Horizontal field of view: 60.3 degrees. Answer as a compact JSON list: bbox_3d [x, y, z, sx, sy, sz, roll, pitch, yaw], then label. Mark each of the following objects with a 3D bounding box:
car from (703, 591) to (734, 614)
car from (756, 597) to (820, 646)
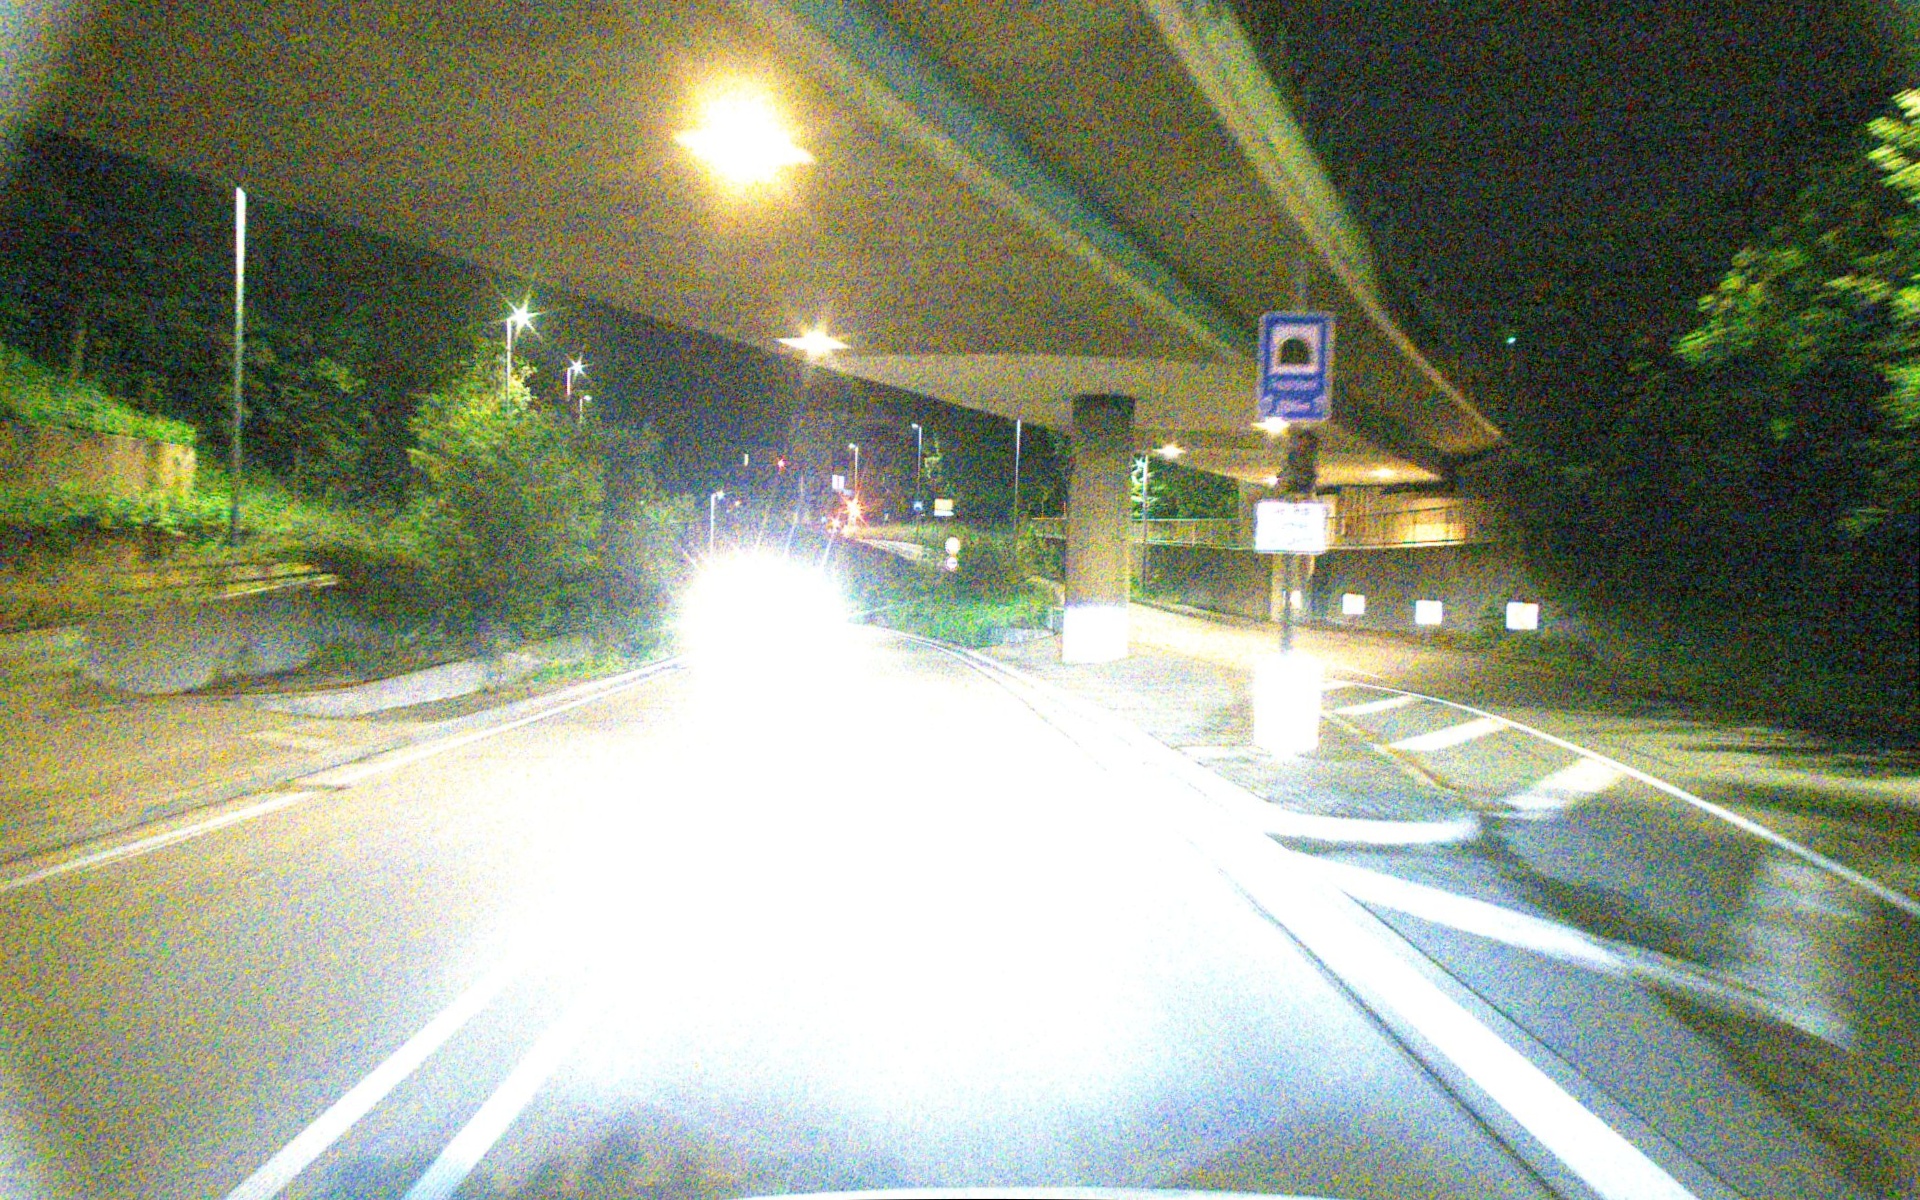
[{"bbox_3d":[-16.310,0.194,111.662,1.826,1.536,3.988,0,0,-12],"label":"car"},{"bbox_3d":[-5.455,0.690,52.843,1.752,1.473,4.169,1,-1,-3],"label":"car"}]
